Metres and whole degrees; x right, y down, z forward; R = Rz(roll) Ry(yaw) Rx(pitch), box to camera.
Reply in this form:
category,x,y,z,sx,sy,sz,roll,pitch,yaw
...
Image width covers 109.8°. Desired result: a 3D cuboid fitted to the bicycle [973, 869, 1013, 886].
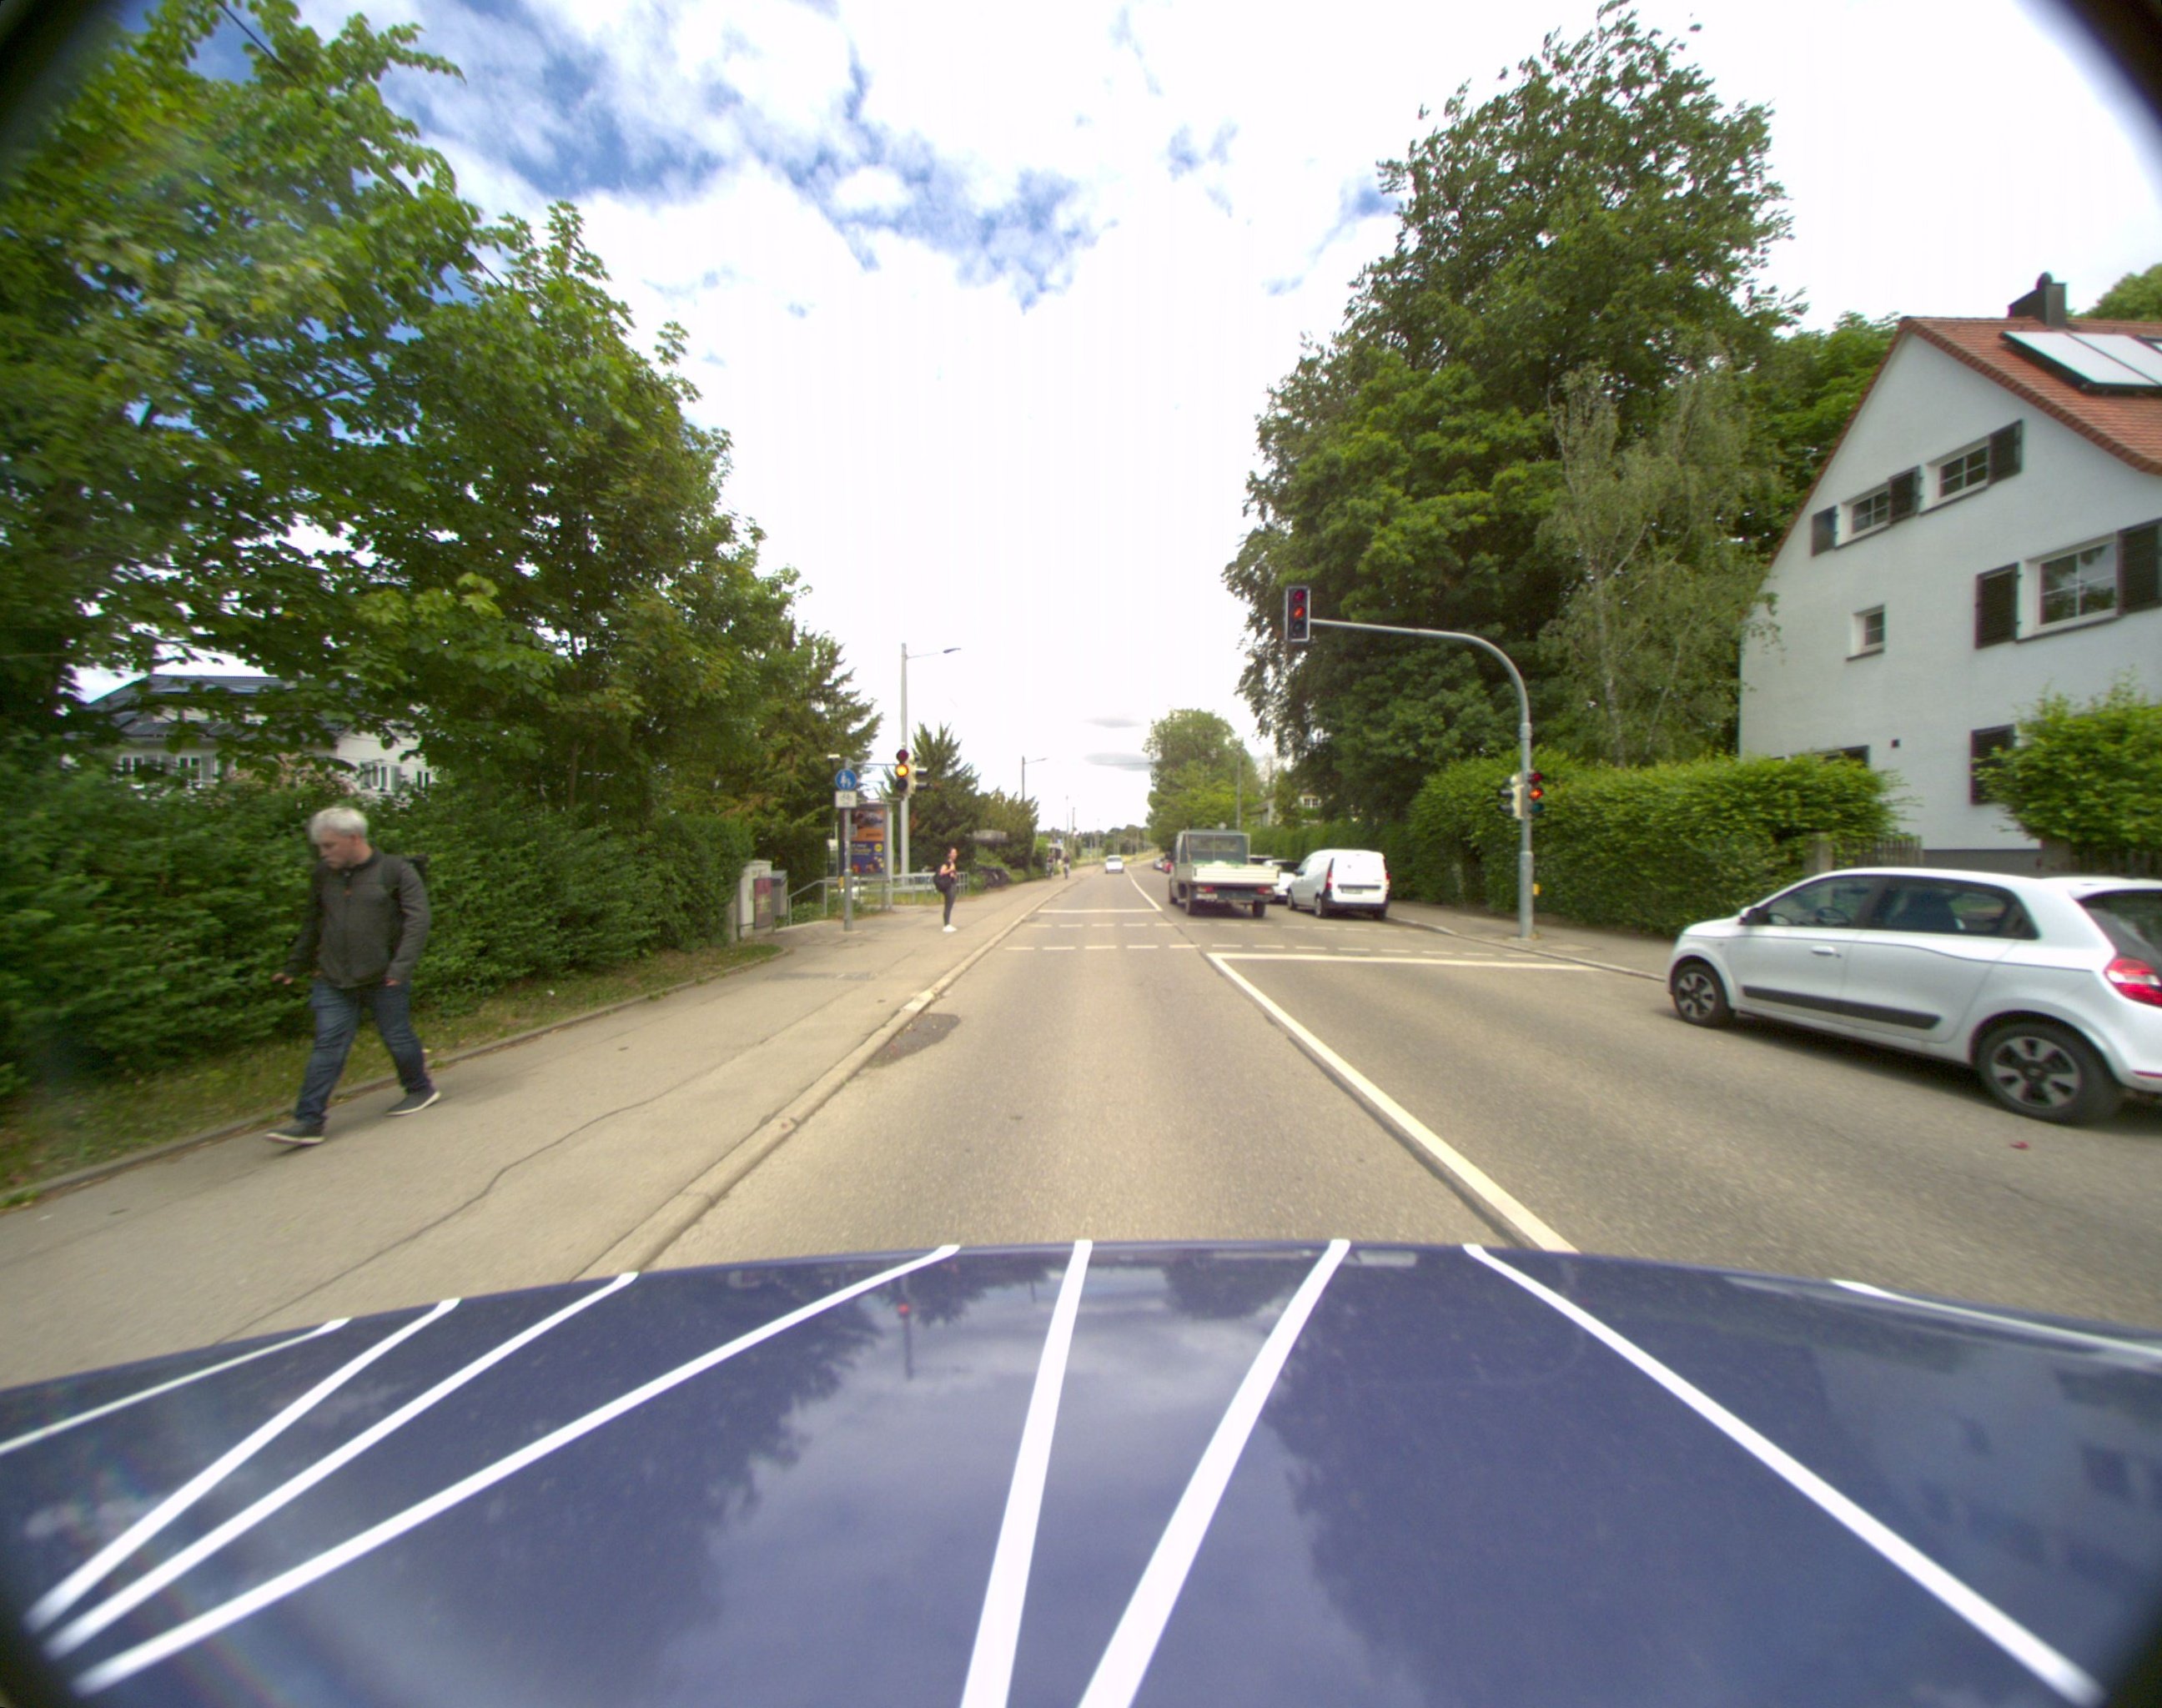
category,x,y,z,sx,sy,sz,roll,pitch,yaw
bicycle,-4.592,1.247,39.726,1.994,0.821,0.451,-2,1,1

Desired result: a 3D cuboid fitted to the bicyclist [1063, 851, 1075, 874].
category,x,y,z,sx,sy,sz,roll,pitch,yaw
bicyclist,-0.833,0.594,52.345,0.826,1.529,0.861,-2,1,-1

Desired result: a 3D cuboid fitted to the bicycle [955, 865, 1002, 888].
category,x,y,z,sx,sy,sz,roll,pitch,yaw
bicycle,-4.995,1.093,37.174,2.206,1.041,0.451,2,1,-1

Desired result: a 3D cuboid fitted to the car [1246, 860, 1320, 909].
category,x,y,z,sx,sy,sz,roll,pitch,yaw
car,6.925,0.993,26.510,1.708,1.445,4.359,3,0,5

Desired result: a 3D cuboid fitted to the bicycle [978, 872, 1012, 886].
category,x,y,z,sx,sy,sz,roll,pitch,yaw
bicycle,-4.381,1.277,38.600,1.682,0.635,0.332,-2,1,-9

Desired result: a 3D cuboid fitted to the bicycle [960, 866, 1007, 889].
category,x,y,z,sx,sy,sz,roll,pitch,yaw
bicycle,-4.690,1.135,36.559,2.206,1.041,0.451,0,1,0

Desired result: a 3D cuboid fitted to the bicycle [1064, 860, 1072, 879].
category,x,y,z,sx,sy,sz,roll,pitch,yaw
bicycle,-0.909,1.061,52.234,0.451,1.278,2.207,-2,1,-3

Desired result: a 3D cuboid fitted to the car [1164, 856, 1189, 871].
category,x,y,z,sx,sy,sz,roll,pitch,yaw
car,8.713,0.855,69.599,1.971,1.394,4.066,0,0,3

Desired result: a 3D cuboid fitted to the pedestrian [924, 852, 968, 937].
category,x,y,z,sx,sy,sz,roll,pitch,yaw
pedestrian,-2.716,0.802,15.352,0.649,1.655,0.708,-1,1,6

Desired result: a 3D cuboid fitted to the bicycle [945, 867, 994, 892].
category,x,y,z,sx,sy,sz,roll,pitch,yaw
bicycle,-4.942,1.147,33.854,2.094,1.041,0.450,-2,1,-1

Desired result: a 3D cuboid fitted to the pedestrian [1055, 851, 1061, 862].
category,x,y,z,sx,sy,sz,roll,pitch,yaw
pedestrian,-2.643,0.324,87.494,0.588,1.272,0.582,-1,1,6

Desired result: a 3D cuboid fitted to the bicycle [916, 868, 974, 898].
category,x,y,z,sx,sy,sz,roll,pitch,yaw
bicycle,-5.290,1.135,29.502,2.093,1.041,0.559,-3,1,4

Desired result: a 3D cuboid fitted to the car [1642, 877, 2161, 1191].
category,x,y,z,sx,sy,sz,roll,pitch,yaw
car,6.565,1.028,5.862,1.707,1.534,3.742,1,0,1

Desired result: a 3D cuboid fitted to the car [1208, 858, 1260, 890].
category,x,y,z,sx,sy,sz,roll,pitch,yaw
car,7.410,0.936,37.169,1.737,1.450,4.237,0,0,1

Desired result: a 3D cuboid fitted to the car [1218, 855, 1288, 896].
category,x,y,z,sx,sy,sz,roll,pitch,yaw
car,7.163,0.862,32.099,1.901,1.584,4.643,0,0,0

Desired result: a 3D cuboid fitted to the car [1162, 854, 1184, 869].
category,x,y,z,sx,sy,sz,roll,pitch,yaw
car,9.240,0.713,76.294,1.853,1.442,3.749,0,0,1

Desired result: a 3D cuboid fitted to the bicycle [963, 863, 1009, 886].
category,x,y,z,sx,sy,sz,roll,pitch,yaw
bicycle,-4.747,1.023,38.012,2.205,1.143,0.451,0,1,7

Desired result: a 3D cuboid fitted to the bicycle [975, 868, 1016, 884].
category,x,y,z,sx,sy,sz,roll,pitch,yaw
bicycle,-4.523,1.172,40.376,2.080,0.821,0.451,-1,1,7

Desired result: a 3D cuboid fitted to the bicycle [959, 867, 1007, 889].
category,x,y,z,sx,sy,sz,roll,pitch,yaw
bicycle,-4.643,1.141,36.094,2.206,0.932,0.451,-2,1,-1

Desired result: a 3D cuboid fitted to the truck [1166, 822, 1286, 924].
category,x,y,z,sx,sy,sz,roll,pitch,yaw
truck,3.810,0.447,21.406,2.194,2.358,6.905,1,0,2

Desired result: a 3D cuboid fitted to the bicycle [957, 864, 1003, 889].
category,x,y,z,sx,sy,sz,roll,pitch,yaw
bicycle,-4.727,1.052,35.565,2.094,1.144,0.530,-1,1,-1

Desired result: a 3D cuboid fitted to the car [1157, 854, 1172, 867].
category,x,y,z,sx,sy,sz,roll,pitch,yaw
car,9.766,0.732,89.003,1.675,1.363,3.608,2,0,7

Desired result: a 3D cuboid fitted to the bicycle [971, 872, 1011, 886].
category,x,y,z,sx,sy,sz,roll,pitch,yaw
bicycle,-4.588,1.280,38.874,1.988,0.635,0.332,-2,1,-9

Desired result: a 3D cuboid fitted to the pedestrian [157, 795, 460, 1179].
category,x,y,z,sx,sy,sz,roll,pitch,yaw
pedestrian,-4.131,0.656,4.134,0.746,1.872,0.801,-1,1,7

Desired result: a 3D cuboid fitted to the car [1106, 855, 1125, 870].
category,x,y,z,sx,sy,sz,roll,pitch,yaw
car,3.136,0.776,70.133,1.665,1.394,3.899,0,0,1

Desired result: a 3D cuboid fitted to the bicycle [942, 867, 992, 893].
category,x,y,z,sx,sy,sz,roll,pitch,yaw
bicycle,-5.005,1.137,33.300,2.094,1.041,0.450,-2,1,-1

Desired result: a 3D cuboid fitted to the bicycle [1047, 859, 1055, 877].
category,x,y,z,sx,sy,sz,roll,pitch,yaw
bicycle,-2.020,0.945,51.245,0.451,1.143,2.207,0,1,1

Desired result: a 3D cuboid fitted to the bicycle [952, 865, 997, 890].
category,x,y,z,sx,sy,sz,roll,pitch,yaw
bicycle,-4.876,1.063,34.782,2.090,1.041,0.451,1,2,22

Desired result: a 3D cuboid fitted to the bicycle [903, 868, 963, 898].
category,x,y,z,sx,sy,sz,roll,pitch,yaw
bicycle,-5.459,1.076,28.099,2.093,1.074,0.547,1,1,4

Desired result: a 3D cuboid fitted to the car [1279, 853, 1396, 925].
category,x,y,z,sx,sy,sz,roll,pitch,yaw
car,6.935,0.862,21.097,1.681,1.748,4.607,2,0,1

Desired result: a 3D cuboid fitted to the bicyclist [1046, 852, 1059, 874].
category,x,y,z,sx,sy,sz,roll,pitch,yaw
bicyclist,-1.948,0.603,51.270,0.826,1.529,0.862,0,1,1

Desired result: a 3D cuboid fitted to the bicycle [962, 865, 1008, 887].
category,x,y,z,sx,sy,sz,roll,pitch,yaw
bicycle,-4.738,1.083,37.587,2.205,1.041,0.451,0,1,7
